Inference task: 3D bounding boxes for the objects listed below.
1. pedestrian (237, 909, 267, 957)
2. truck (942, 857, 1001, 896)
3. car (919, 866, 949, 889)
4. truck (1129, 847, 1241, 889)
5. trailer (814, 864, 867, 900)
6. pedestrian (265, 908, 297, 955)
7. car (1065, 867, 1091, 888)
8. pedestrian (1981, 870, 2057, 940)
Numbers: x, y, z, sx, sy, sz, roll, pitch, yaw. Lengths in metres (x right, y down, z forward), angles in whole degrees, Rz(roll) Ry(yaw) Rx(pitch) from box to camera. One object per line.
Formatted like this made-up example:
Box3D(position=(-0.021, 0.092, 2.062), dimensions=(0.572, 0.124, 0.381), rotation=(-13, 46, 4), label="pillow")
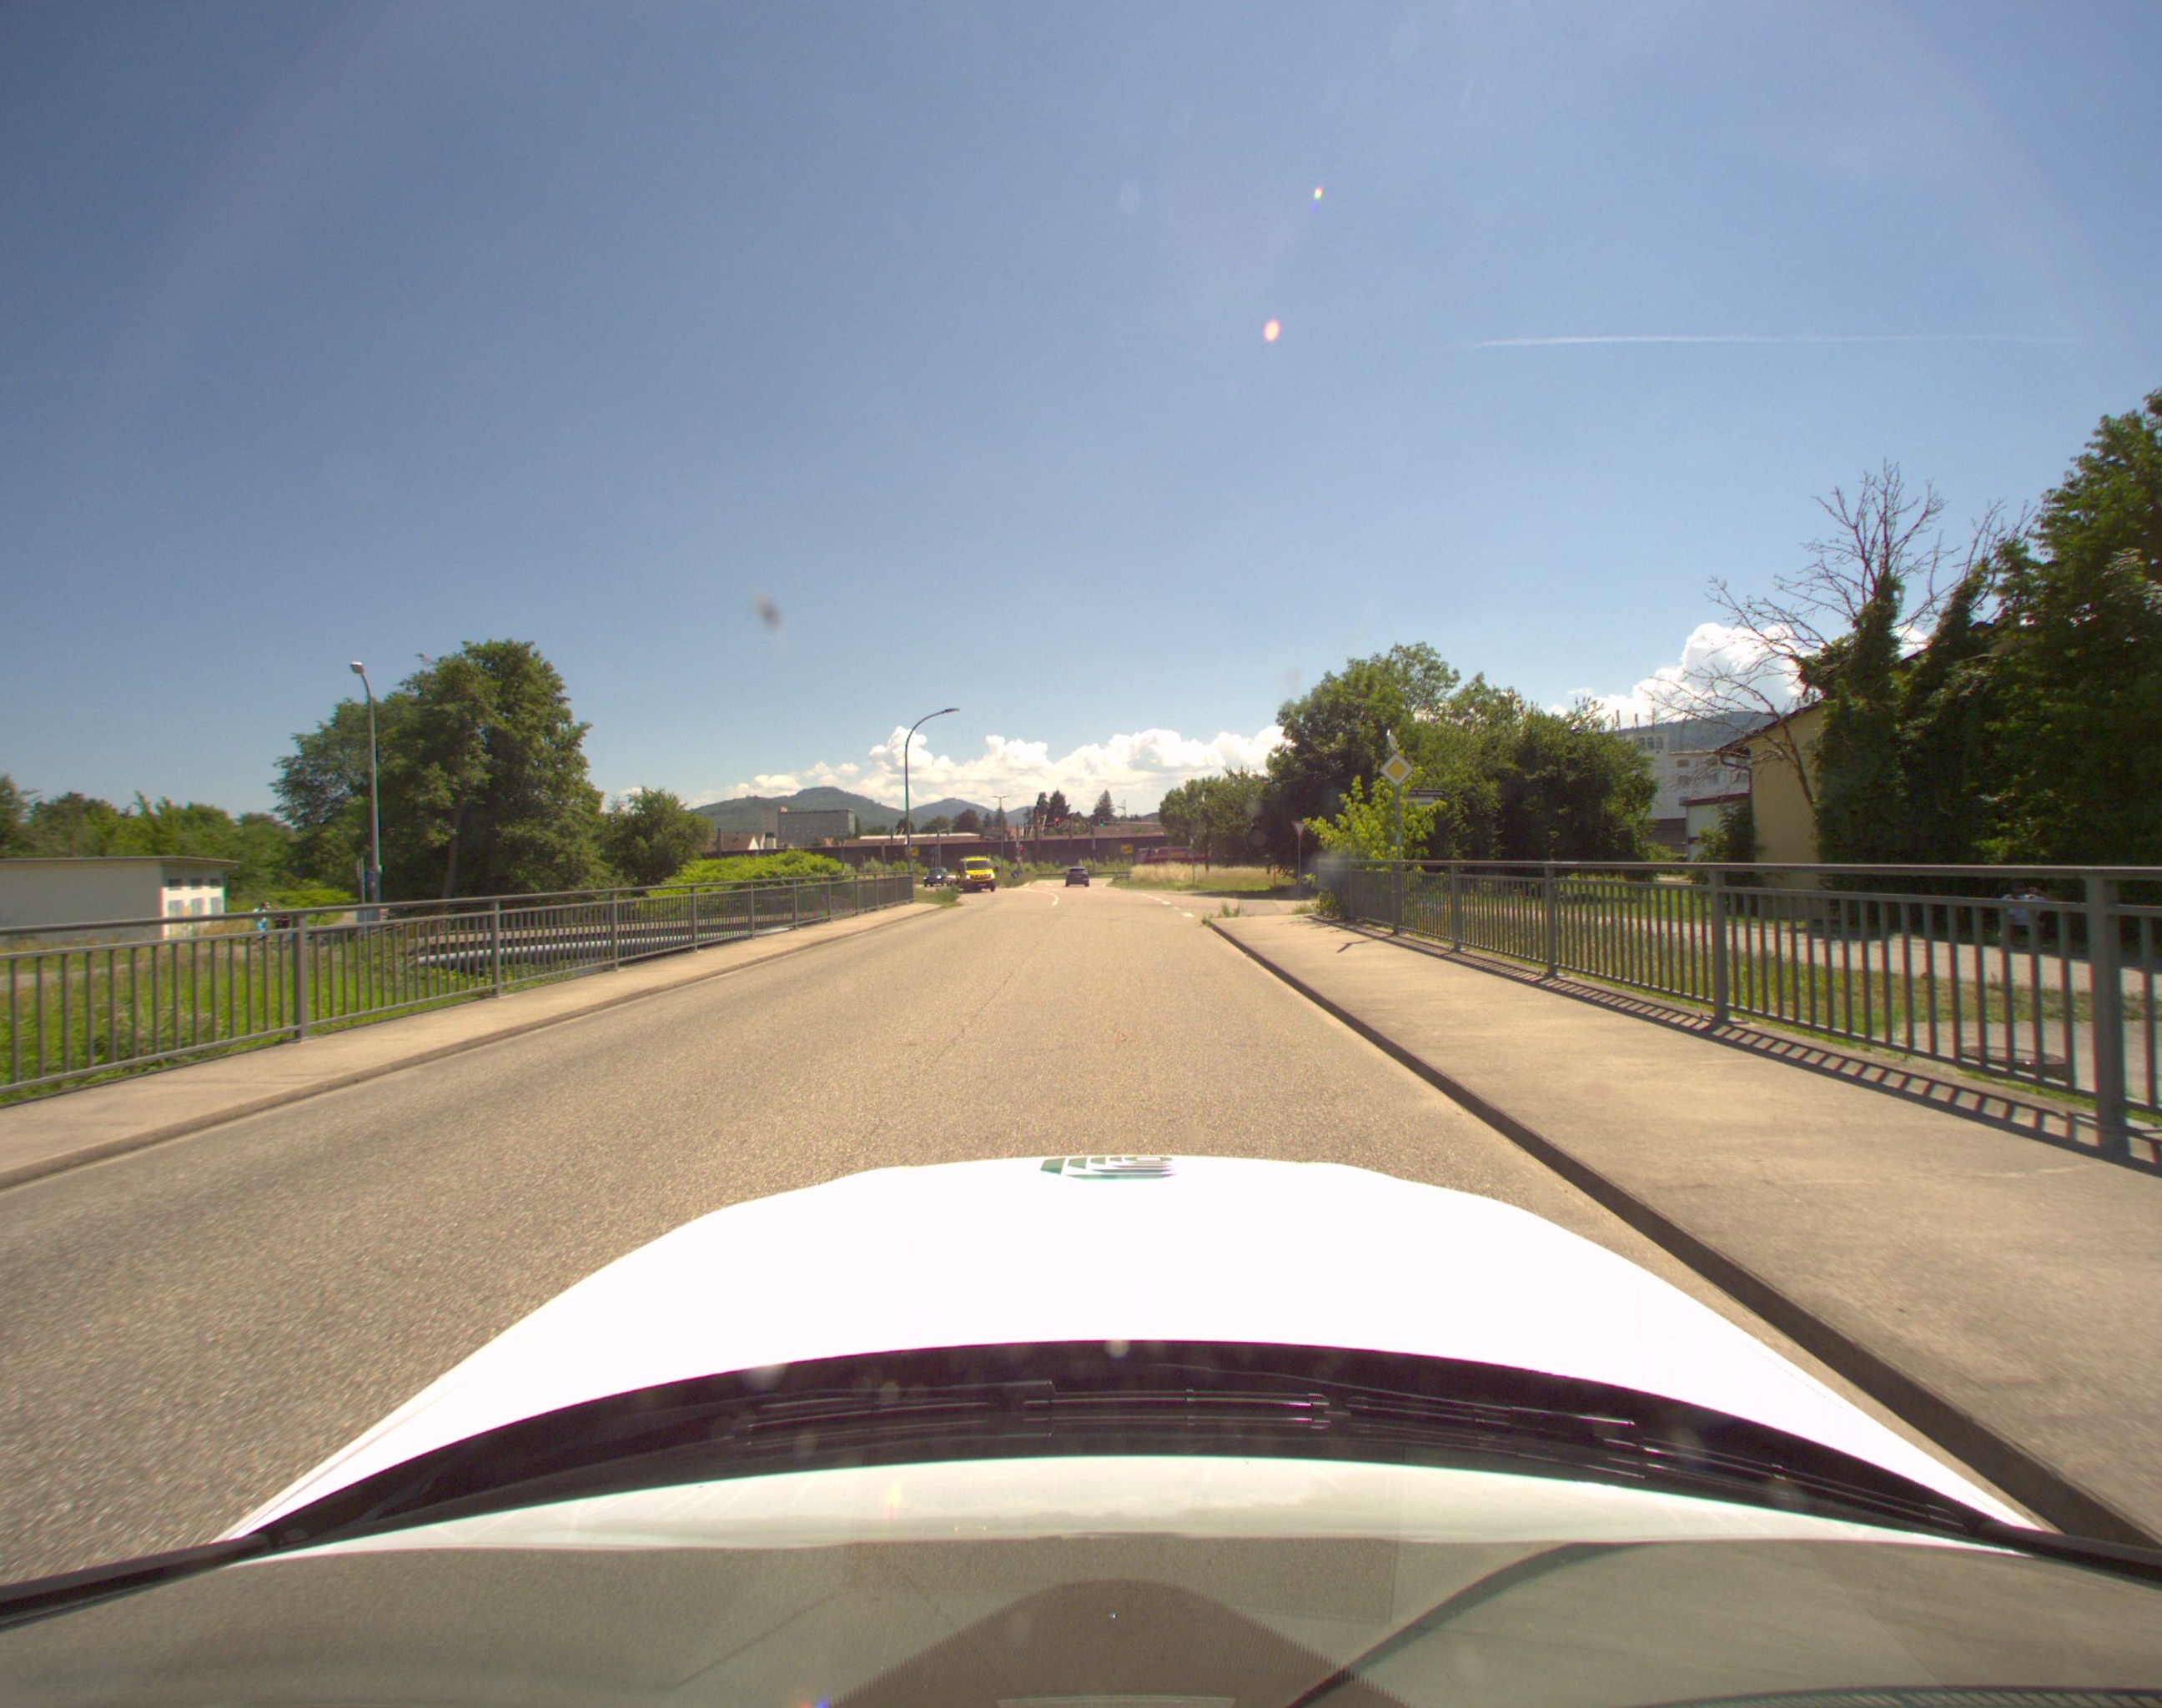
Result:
Box3D(position=(-30.153, 2.850, 29.628), dimensions=(0.515, 1.674, 0.624), rotation=(1, -1, -20), label="pedestrian")
Box3D(position=(-7.675, 1.583, 55.973), dimensions=(2.318, 2.337, 8.993), rotation=(-3, -1, -18), label="truck")
Box3D(position=(-13.335, 2.126, 74.061), dimensions=(1.896, 1.702, 3.999), rotation=(-6, 2, 0), label="car")
Box3D(position=(11.148, 1.441, 86.612), dimensions=(11.814, 4.181, 2.984), rotation=(0, -1, -22), label="truck")
Box3D(position=(-14.315, 1.653, 48.389), dimensions=(1.864, 2.014, 3.916), rotation=(0, -2, -36), label="trailer")
Box3D(position=(-29.721, 2.859, 30.254), dimensions=(0.628, 1.674, 0.594), rotation=(1, -1, -19), label="pedestrian")
Box3D(position=(-0.240, 1.821, 64.469), dimensions=(1.987, 1.503, 4.000), rotation=(0, 0, 0), label="car")
Box3D(position=(20.087, 1.080, 17.456), dimensions=(0.676, 1.392, 0.854), rotation=(-4, 2, 14), label="pedestrian")
